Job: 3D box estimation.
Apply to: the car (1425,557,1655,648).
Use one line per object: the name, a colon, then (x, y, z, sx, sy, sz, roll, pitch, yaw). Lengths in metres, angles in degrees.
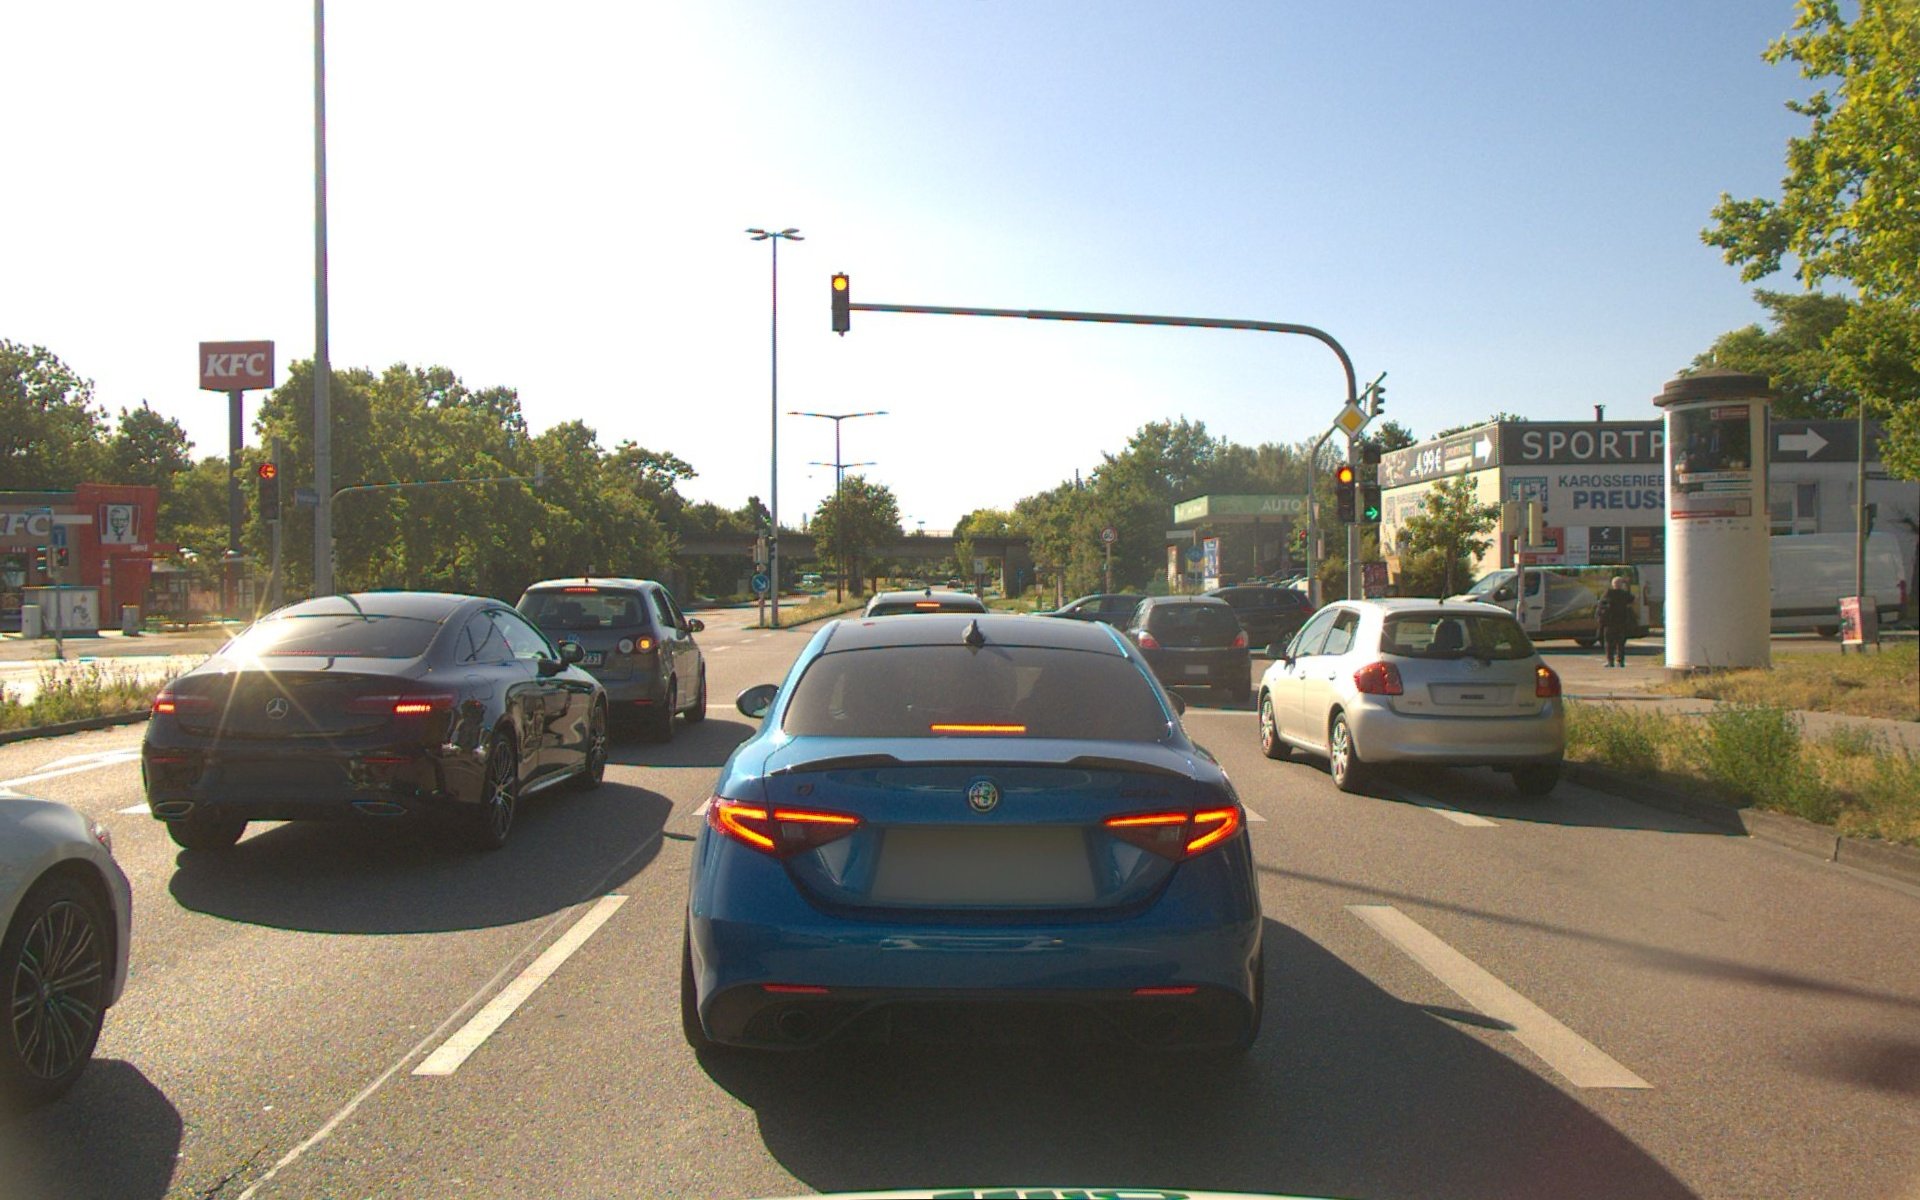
car: (13.863, 0.066, 39.691, 4.854, 2.071, 1.880, -1, 0, -2)

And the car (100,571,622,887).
car: (-3.476, 0.639, 10.596, 1.775, 1.578, 4.542, 1, 0, -1)

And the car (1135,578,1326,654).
car: (6.353, 0.382, 39.110, 4.219, 1.678, 1.637, 1, 0, -2)

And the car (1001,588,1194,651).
car: (3.452, 0.500, 42.106, 4.722, 1.493, 1.758, 1, 0, -3)

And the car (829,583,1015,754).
car: (-0.318, 0.631, 16.899, 1.669, 1.523, 3.719, 1, 0, 1)

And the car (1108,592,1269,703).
car: (3.283, 0.634, 24.508, 1.699, 1.467, 4.370, 1, 0, -1)

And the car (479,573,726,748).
car: (-3.584, 0.564, 17.358, 1.776, 1.578, 4.351, 1, 0, -2)

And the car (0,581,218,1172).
car: (-3.336, 0.710, 3.160, 1.775, 1.512, 4.596, 0, 0, 0)

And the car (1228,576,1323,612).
car: (14.266, -0.265, 74.914, 3.905, 1.579, 2.000, 1, 0, 0)

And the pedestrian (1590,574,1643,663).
pedestrian: (12.674, 0.359, 31.962, 0.800, 1.698, 0.514, 1, -1, -1)

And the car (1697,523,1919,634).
car: (22.474, -0.546, 42.949, 5.715, 2.719, 2.000, -1, -1, 0)

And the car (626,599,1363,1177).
car: (0.117, 0.748, 6.111, 1.870, 1.447, 3.719, 1, 0, 1)

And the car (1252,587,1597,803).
car: (3.808, 0.689, 14.314, 1.747, 1.564, 4.107, 1, 0, -1)
